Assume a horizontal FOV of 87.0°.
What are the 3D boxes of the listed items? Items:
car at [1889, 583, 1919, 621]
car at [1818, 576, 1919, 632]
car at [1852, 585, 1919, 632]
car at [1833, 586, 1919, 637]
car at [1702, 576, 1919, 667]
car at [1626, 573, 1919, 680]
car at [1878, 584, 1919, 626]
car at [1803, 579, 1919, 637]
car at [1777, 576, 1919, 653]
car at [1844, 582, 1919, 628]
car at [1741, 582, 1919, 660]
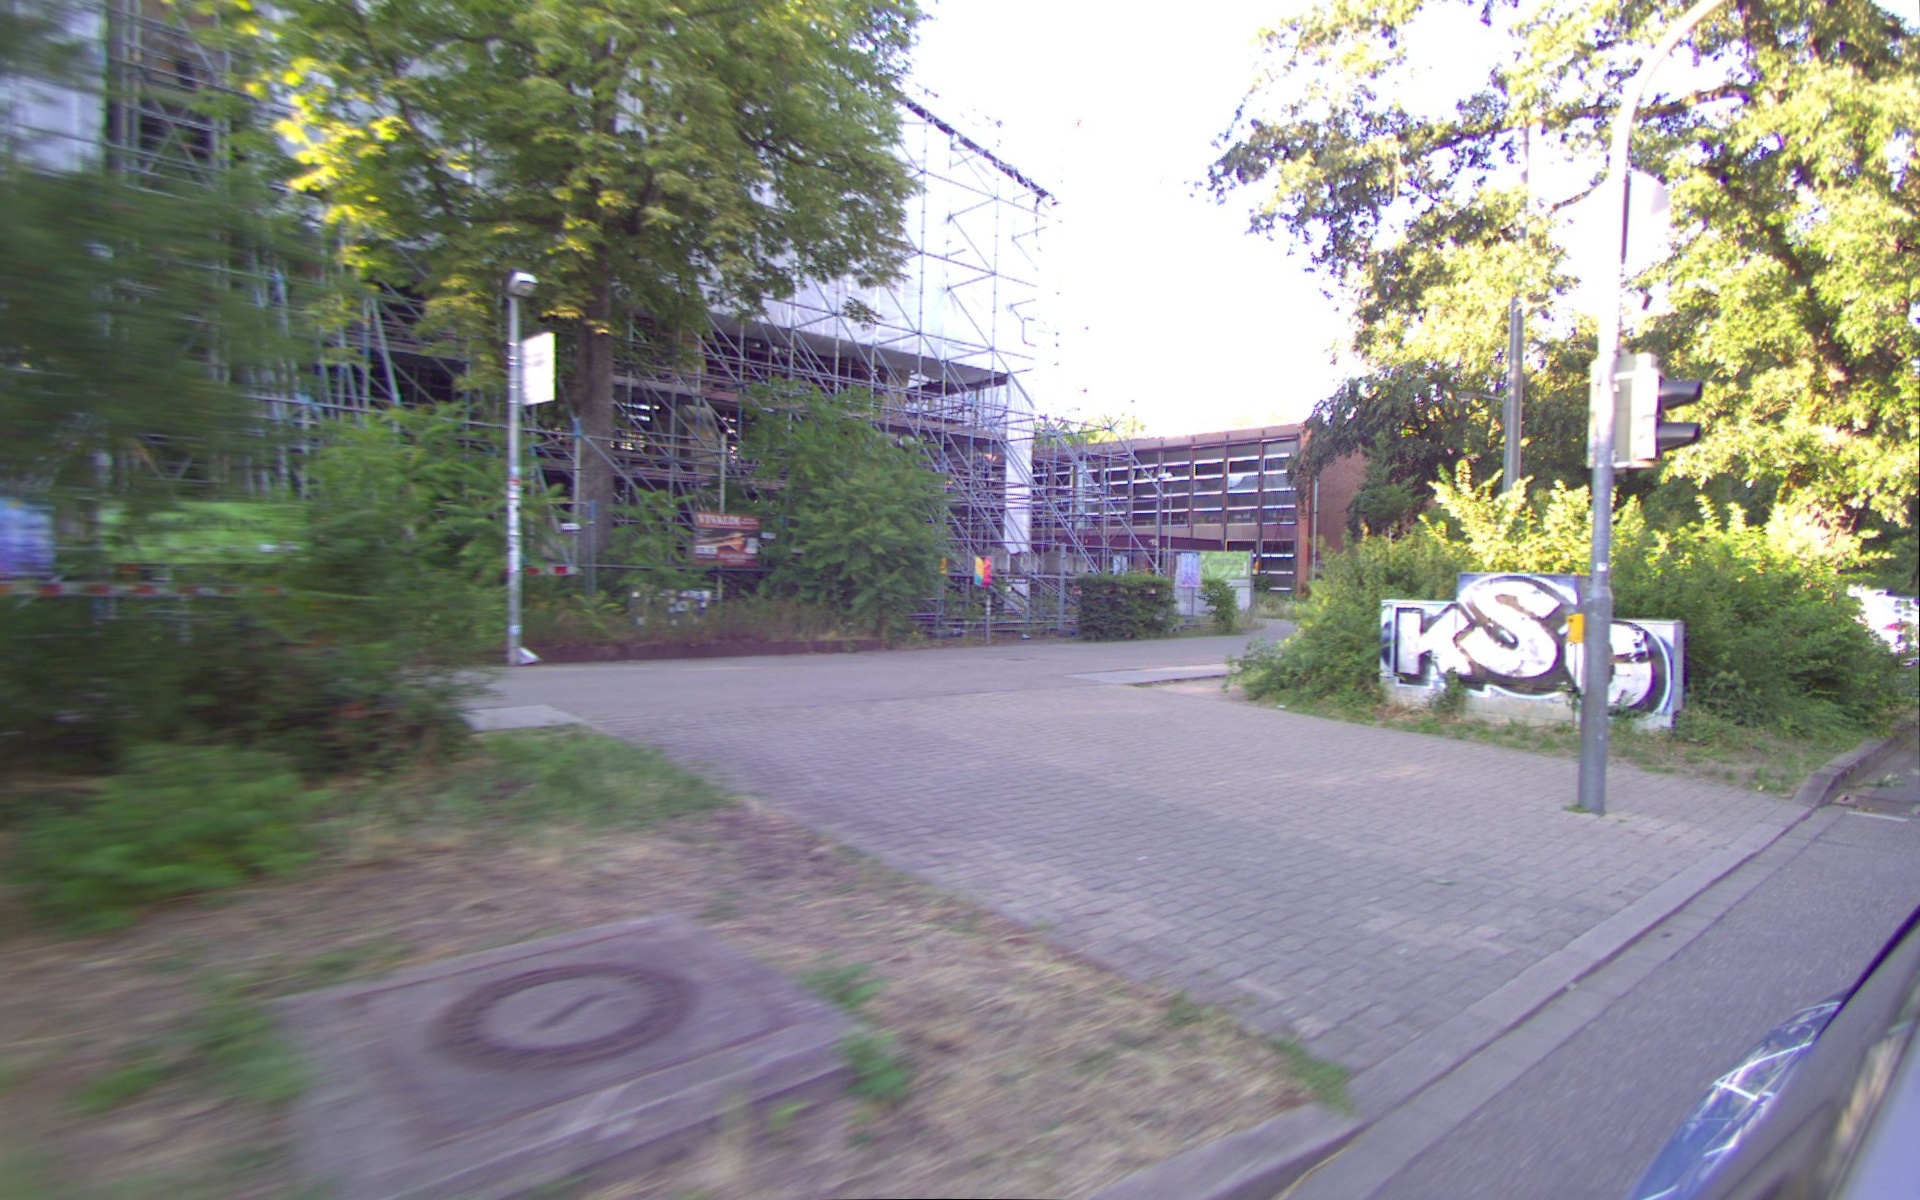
[{"bbox_3d":[41.587,0.196,42.355,1.788,1.516,3.735,0,5,-40],"label":"car"},{"bbox_3d":[29.963,0.154,32.276,1.713,1.574,3.717,0,5,-44],"label":"car"},{"bbox_3d":[33.937,0.373,35.213,1.800,1.492,4.129,0,5,-42],"label":"car"},{"bbox_3d":[31.740,0.436,33.522,1.799,1.471,3.936,0,4,-39],"label":"car"},{"bbox_3d":[18.497,0.410,21.468,1.692,1.688,4.131,1,2,-40],"label":"car"},{"bbox_3d":[15.018,0.386,18.673,1.832,1.731,4.183,1,1,-36],"label":"car"},{"bbox_3d":[37.948,0.308,38.785,1.725,1.492,3.818,1,5,-40],"label":"car"},{"bbox_3d":[28.298,0.295,30.357,1.712,1.493,4.347,2,4,-42],"label":"car"},{"bbox_3d":[22.418,0.370,24.564,1.668,1.613,3.752,2,4,-42],"label":"car"},{"bbox_3d":[35.540,0.242,37.562,1.799,1.492,3.818,0,5,-40],"label":"car"},{"bbox_3d":[20.416,0.444,23.257,1.787,1.586,3.595,1,2,-41],"label":"car"}]
